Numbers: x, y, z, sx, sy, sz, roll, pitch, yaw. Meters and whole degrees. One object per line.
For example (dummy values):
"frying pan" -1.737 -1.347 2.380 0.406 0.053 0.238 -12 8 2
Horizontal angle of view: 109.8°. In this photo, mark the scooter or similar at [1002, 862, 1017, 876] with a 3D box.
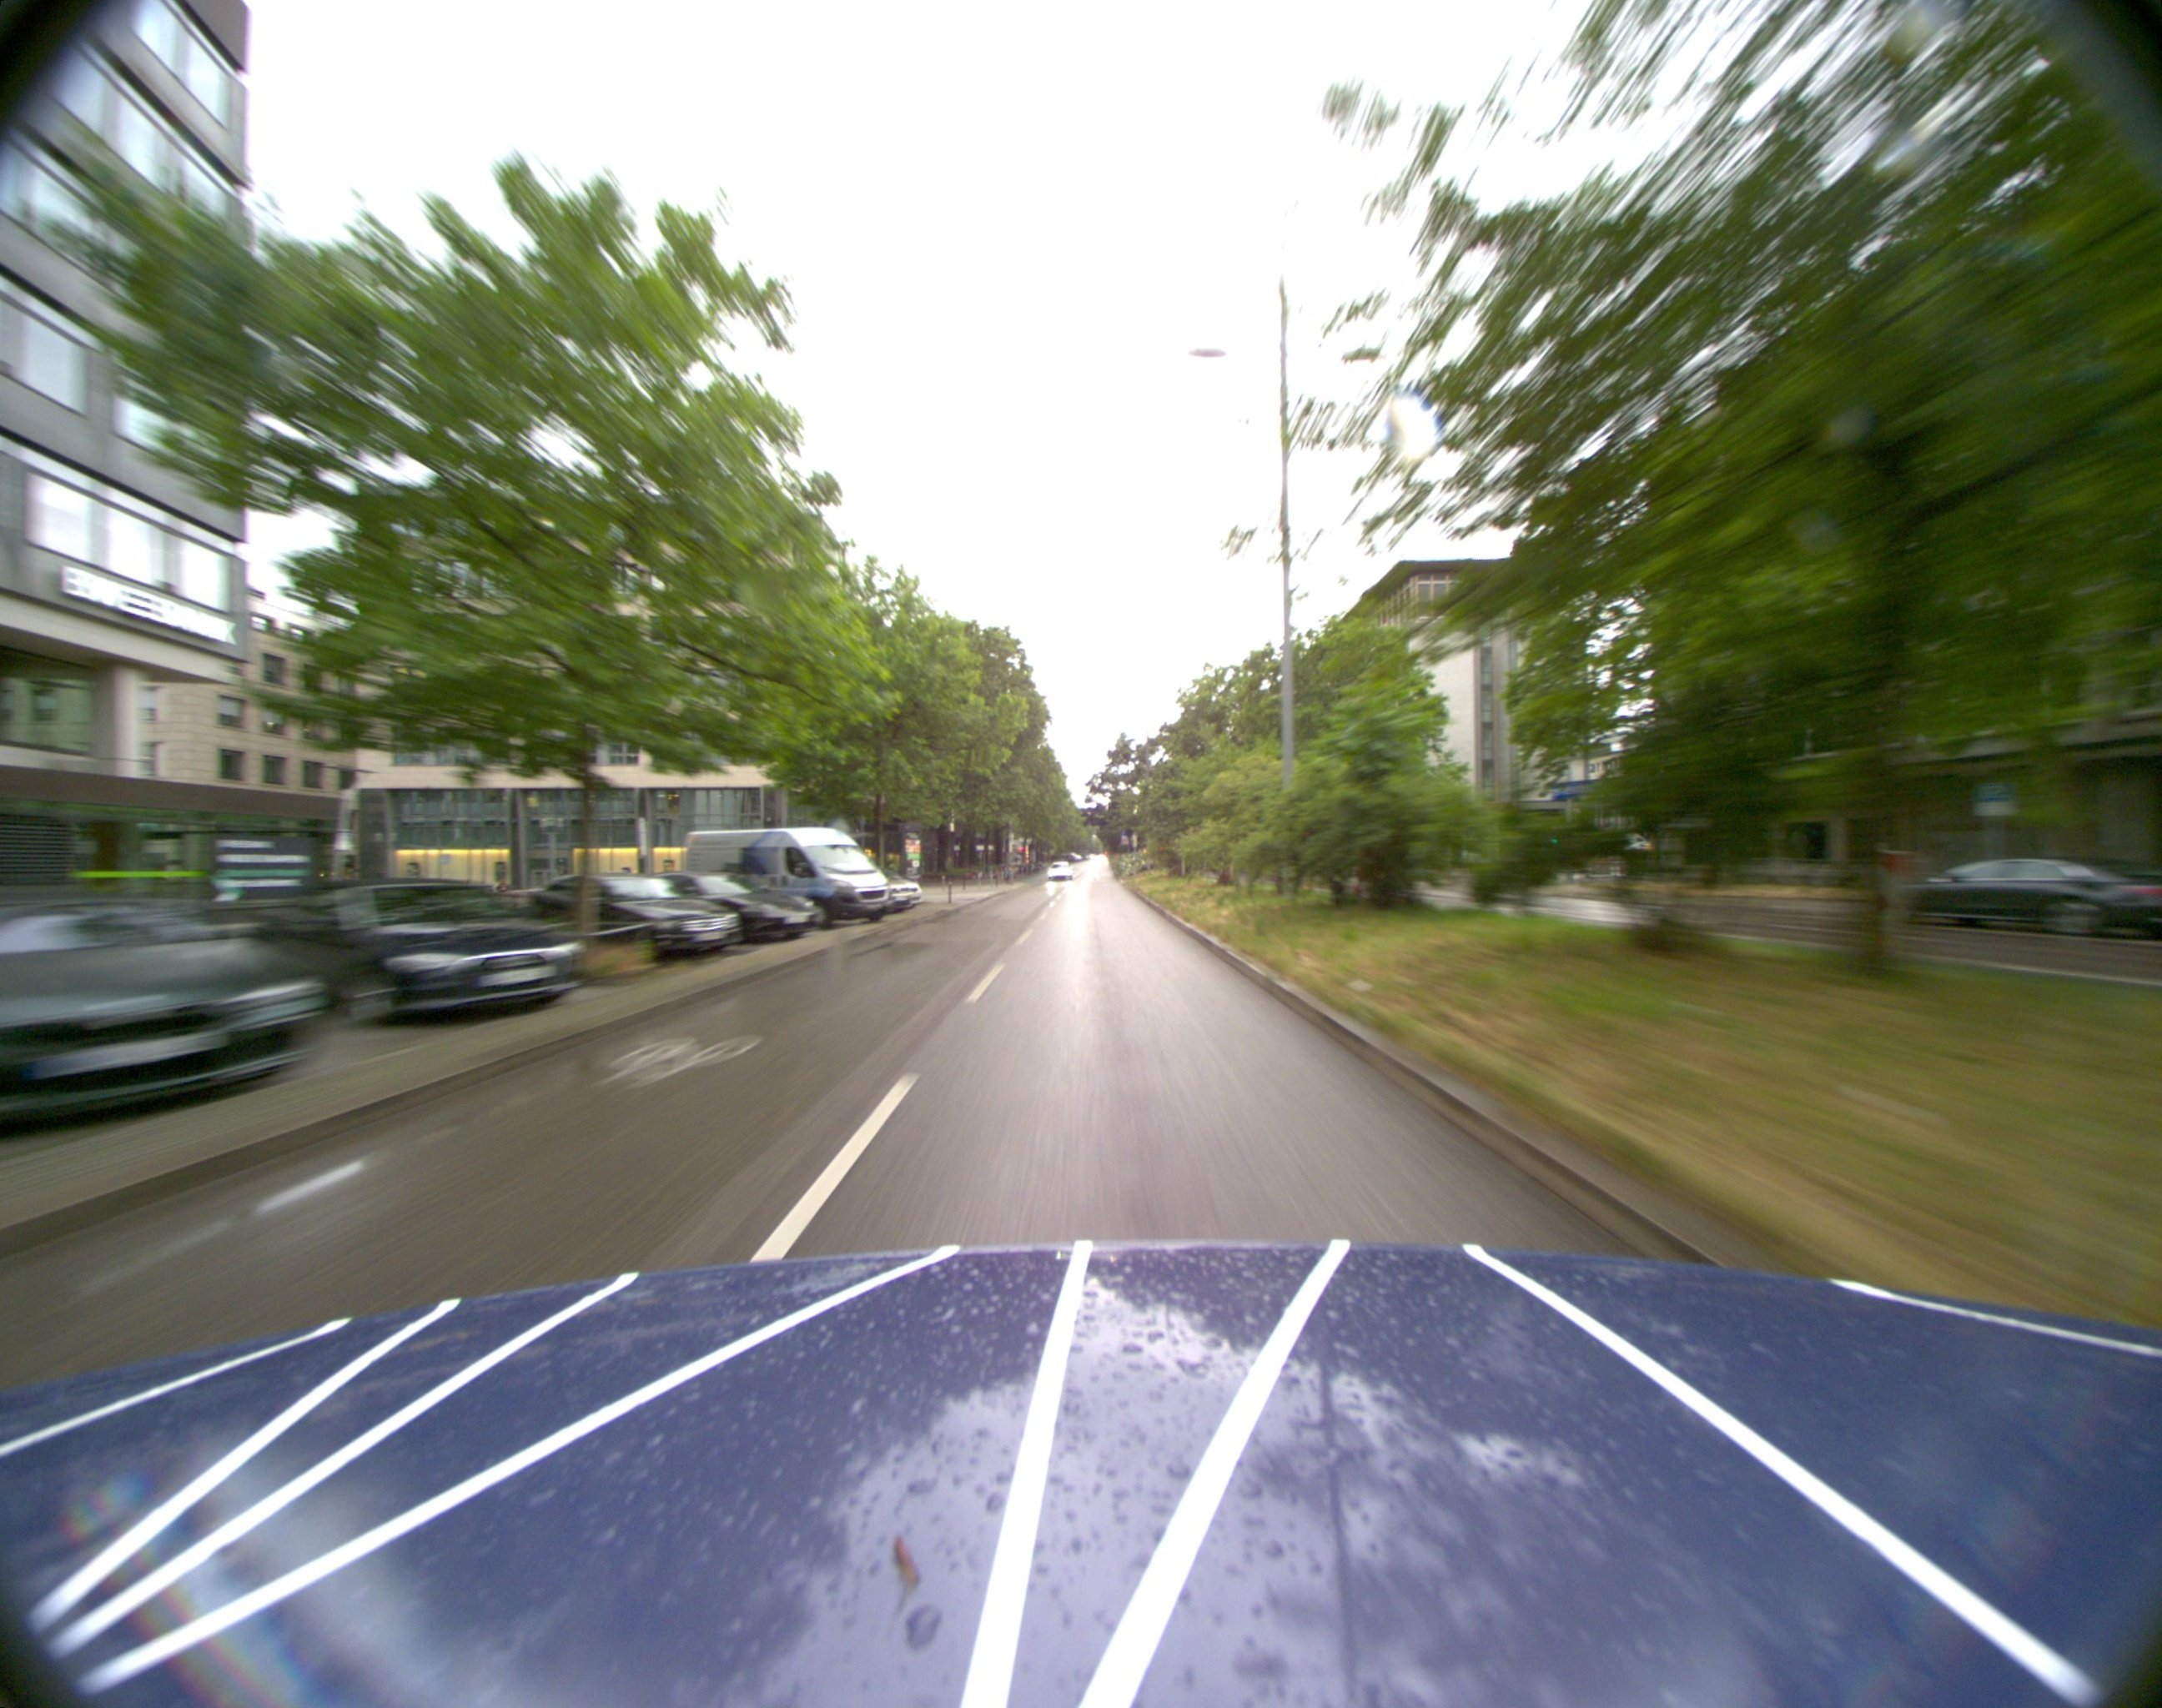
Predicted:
"scooter or similar" -6.508 1.387 69.502 1.292 1.228 0.489 0 -1 4

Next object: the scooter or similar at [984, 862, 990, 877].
"scooter or similar" -8.012 1.326 64.673 0.489 1.191 1.292 -2 1 -7

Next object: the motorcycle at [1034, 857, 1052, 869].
"motorcycle" -4.656 1.107 93.861 2.062 1.420 0.728 1 -1 -19

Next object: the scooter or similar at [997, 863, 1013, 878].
"scooter or similar" -6.549 1.442 65.498 1.291 1.252 0.490 0 -1 14

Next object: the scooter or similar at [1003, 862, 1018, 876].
"scooter or similar" -6.486 1.374 70.247 1.292 1.228 0.489 0 -1 4

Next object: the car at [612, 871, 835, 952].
"car" -7.510 1.114 15.915 4.390 1.428 1.944 -1 1 28

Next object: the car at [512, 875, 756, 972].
"car" -7.953 1.130 13.456 4.202 1.428 1.723 -1 1 28

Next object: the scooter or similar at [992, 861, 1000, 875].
"scooter or similar" -7.677 1.252 68.455 0.489 1.252 1.294 0 -1 2

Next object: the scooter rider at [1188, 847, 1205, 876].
"scooter rider" 7.622 0.484 50.181 0.902 1.929 0.757 -2 1 -1

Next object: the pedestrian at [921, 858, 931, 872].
"pedestrian" -18.657 1.353 91.498 0.727 1.683 0.830 0 0 45

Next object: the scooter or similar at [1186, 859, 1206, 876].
"scooter or similar" 7.600 0.888 50.220 1.185 1.107 0.435 -2 1 -2

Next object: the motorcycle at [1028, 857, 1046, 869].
"motorcycle" -4.959 1.067 86.042 1.963 1.365 0.728 1 -1 -19

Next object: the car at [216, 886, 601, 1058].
"car" -7.617 1.122 8.541 4.367 1.428 1.765 -1 1 28

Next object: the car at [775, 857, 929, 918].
"car" -6.833 0.975 22.589 4.259 1.658 1.821 -2 0 28

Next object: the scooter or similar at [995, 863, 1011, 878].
"scooter or similar" -6.810 1.432 66.653 1.291 1.252 0.490 0 -1 14

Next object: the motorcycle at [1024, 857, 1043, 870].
"motorcycle" -5.170 1.059 82.831 1.963 1.365 0.728 0 -1 -14

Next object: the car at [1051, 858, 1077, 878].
"car" -1.369 1.130 61.179 1.795 1.463 3.794 -2 0 3

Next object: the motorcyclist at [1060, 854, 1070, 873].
"motorcyclist" -1.397 0.825 65.232 0.744 1.575 1.059 -2 1 2

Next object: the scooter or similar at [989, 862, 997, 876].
"scooter or similar" -7.580 1.296 65.514 0.489 1.252 1.294 0 -1 2

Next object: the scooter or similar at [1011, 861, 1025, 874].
"scooter or similar" -6.043 1.312 73.054 1.292 1.270 0.537 0 -1 6

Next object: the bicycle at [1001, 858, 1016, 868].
"bicycle" -7.911 0.953 82.693 0.637 1.022 1.766 -1 1 31

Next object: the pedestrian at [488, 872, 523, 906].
"pedestrian" -30.041 1.814 39.686 1.185 1.686 0.808 -2 1 10

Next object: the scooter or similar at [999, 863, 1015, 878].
"scooter or similar" -6.452 1.428 66.106 1.291 1.252 0.490 0 -1 14

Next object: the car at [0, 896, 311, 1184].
"car" -7.808 1.122 5.601 4.625 1.386 1.851 0 1 30

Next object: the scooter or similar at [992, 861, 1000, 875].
"scooter or similar" -7.677 1.252 68.455 0.489 1.252 1.294 0 -1 2

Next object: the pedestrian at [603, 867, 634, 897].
"pedestrian" -29.433 1.776 48.381 1.276 1.839 0.920 -2 1 -2

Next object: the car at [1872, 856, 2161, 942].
"car" 18.840 0.778 14.850 1.773 1.426 4.671 2 0 -1

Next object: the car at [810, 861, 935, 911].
"car" -6.949 1.068 25.338 3.652 1.538 1.717 -2 0 21

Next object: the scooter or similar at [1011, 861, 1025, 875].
"scooter or similar" -5.992 1.321 72.367 1.293 1.270 0.536 0 -1 -9

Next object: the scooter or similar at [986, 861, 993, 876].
"scooter or similar" -8.097 1.287 67.238 0.489 1.252 1.294 0 -1 2

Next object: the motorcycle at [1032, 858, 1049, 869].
"motorcycle" -4.760 1.121 89.468 1.963 1.365 0.728 1 -1 -19

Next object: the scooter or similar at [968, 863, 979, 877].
"scooter or similar" -9.178 1.364 64.938 0.490 1.191 1.290 -2 1 -29

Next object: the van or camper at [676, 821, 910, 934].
"van or camper" -7.488 0.565 19.543 6.069 2.543 2.108 -1 1 29

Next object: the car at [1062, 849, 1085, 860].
"car" -2.015 0.166 214.232 6.267 2.665 2.326 -1 2 38
